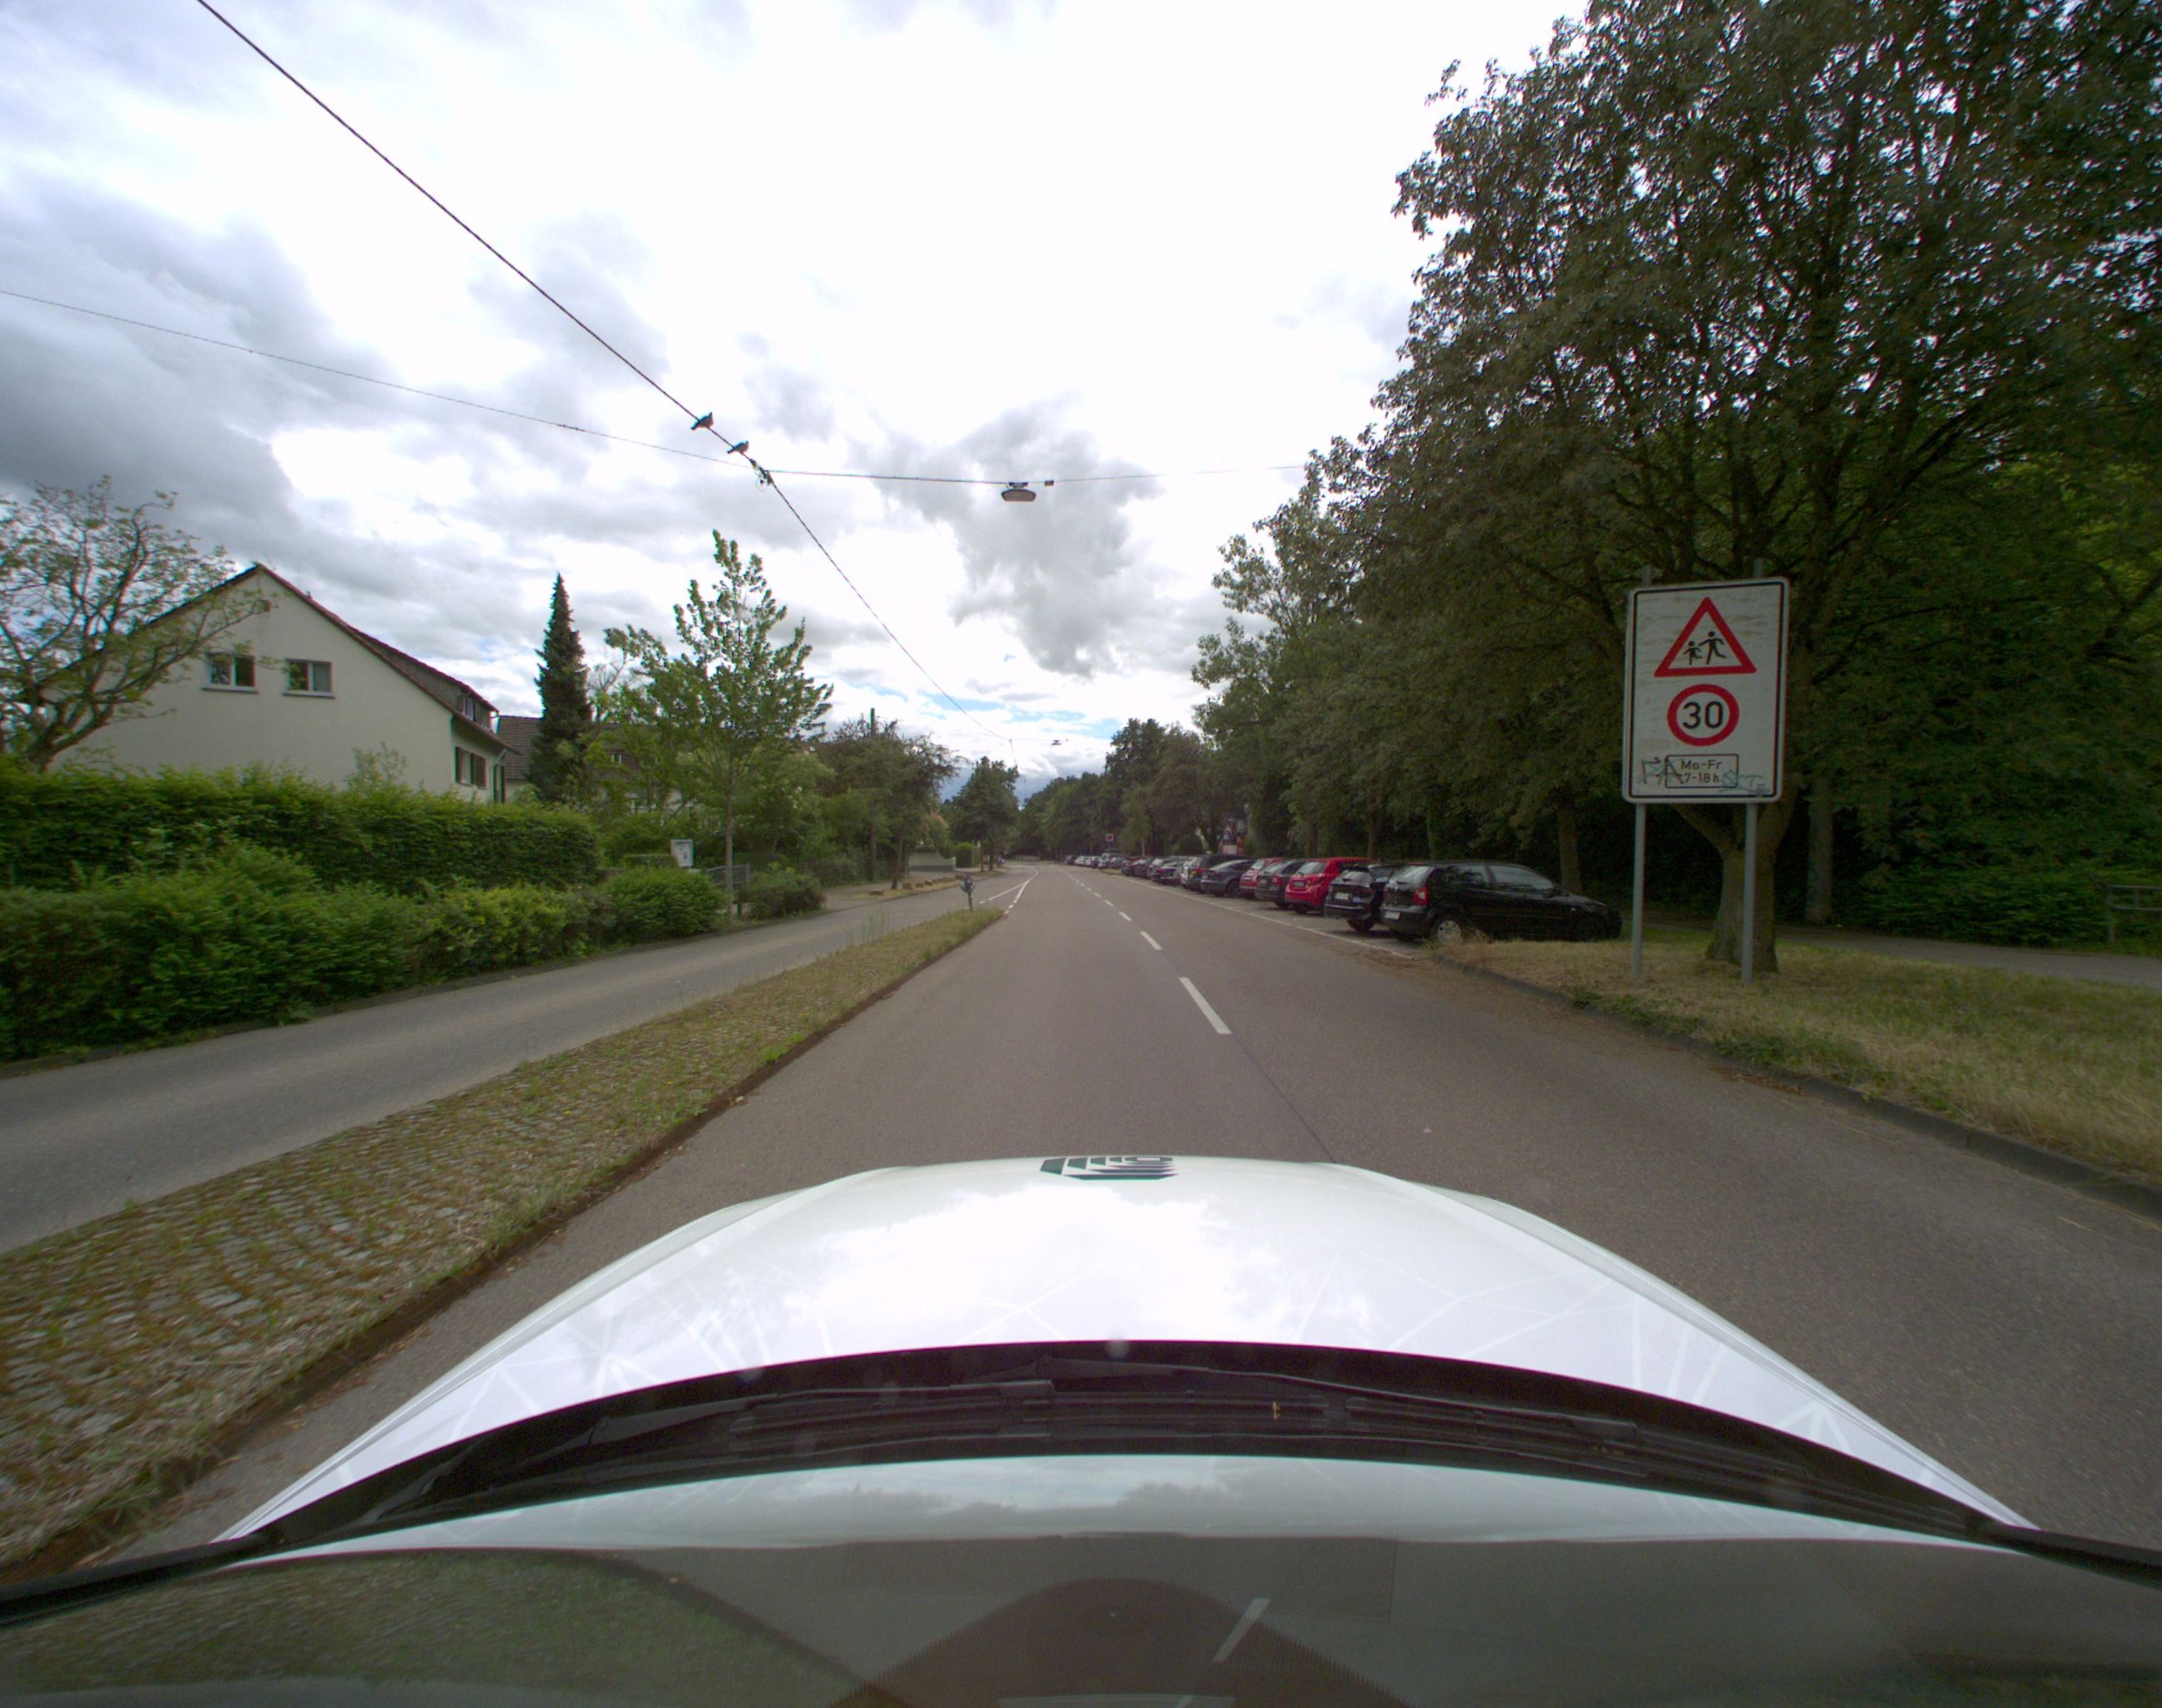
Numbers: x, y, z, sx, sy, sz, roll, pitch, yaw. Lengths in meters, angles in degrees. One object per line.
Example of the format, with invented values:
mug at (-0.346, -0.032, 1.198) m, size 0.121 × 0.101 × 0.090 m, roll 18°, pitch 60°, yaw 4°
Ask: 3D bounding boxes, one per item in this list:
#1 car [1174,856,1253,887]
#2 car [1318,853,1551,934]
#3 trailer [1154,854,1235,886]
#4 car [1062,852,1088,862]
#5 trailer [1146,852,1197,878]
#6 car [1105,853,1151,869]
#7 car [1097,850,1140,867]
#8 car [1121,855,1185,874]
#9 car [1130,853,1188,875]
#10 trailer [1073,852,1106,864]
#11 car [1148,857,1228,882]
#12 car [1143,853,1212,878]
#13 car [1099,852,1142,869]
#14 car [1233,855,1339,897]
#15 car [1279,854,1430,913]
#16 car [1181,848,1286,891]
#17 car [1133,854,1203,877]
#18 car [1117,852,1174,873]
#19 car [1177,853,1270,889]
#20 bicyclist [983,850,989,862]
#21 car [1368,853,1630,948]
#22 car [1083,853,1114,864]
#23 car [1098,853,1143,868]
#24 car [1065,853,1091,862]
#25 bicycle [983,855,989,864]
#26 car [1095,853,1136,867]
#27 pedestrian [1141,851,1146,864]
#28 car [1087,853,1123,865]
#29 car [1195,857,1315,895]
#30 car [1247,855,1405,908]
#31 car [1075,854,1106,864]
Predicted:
car at (6.335, 0.816, 38.969) m, size 3.430 × 1.445 × 1.551 m, roll 1°, pitch 0°, yaw -15°
car at (6.955, 0.737, 16.134) m, size 4.140 × 1.476 × 1.569 m, roll 1°, pitch 0°, yaw -13°
trailer at (5.732, 0.782, 41.188) m, size 3.693 × 1.535 × 1.638 m, roll 1°, pitch 0°, yaw -14°
car at (-0.986, 0.440, 136.018) m, size 3.900 × 1.668 × 1.731 m, roll 1°, pitch 0°, yaw -23°
trailer at (5.735, 0.690, 51.637) m, size 2.992 × 1.542 × 1.296 m, roll 1°, pitch 1°, yaw -16°
car at (4.463, 0.665, 77.221) m, size 3.975 × 1.405 × 1.746 m, roll 1°, pitch 0°, yaw -18°
car at (3.936, 0.491, 85.522) m, size 4.111 × 1.754 × 1.770 m, roll 1°, pitch 0°, yaw -30°
car at (5.208, 0.754, 59.302) m, size 4.322 × 1.341 × 1.724 m, roll 1°, pitch 0°, yaw -17°
car at (5.429, 0.708, 56.744) m, size 3.620 × 1.445 × 1.624 m, roll 1°, pitch 0°, yaw -18°
trailer at (1.204, 0.575, 112.294) m, size 4.171 × 1.573 × 1.699 m, roll 1°, pitch -1°, yaw -22°
car at (5.742, 0.826, 43.792) m, size 4.039 × 1.327 × 1.553 m, roll 1°, pitch -1°, yaw -12°
car at (5.832, 0.713, 49.221) m, size 3.846 × 1.455 × 1.626 m, roll 1°, pitch 0°, yaw -15°
car at (4.014, 0.621, 82.634) m, size 4.009 × 1.620 × 1.873 m, roll 1°, pitch 0°, yaw -19°
car at (7.282, 0.772, 29.044) m, size 3.329 × 1.464 × 1.628 m, roll 1°, pitch 0°, yaw -13°
car at (7.210, 0.755, 21.572) m, size 3.529 × 1.476 × 1.584 m, roll 1°, pitch 0°, yaw -15°
car at (6.288, 0.646, 33.717) m, size 3.988 × 1.725 × 1.674 m, roll 1°, pitch -1°, yaw -12°
car at (5.745, 0.736, 53.716) m, size 4.354 × 1.445 × 1.625 m, roll 1°, pitch 0°, yaw -17°
car at (4.912, 0.632, 62.132) m, size 4.091 × 1.515 × 1.719 m, roll 0°, pitch 0°, yaw -25°
car at (6.364, 0.756, 36.517) m, size 3.816 × 1.529 × 1.602 m, roll 1°, pitch 0°, yaw -7°
bicyclist at (-14.038, 0.260, 120.587) m, size 0.843 × 1.697 × 0.713 m, roll 0°, pitch 1°, yaw -4°
car at (7.017, 0.760, 13.850) m, size 3.710 × 1.476 × 1.574 m, roll 1°, pitch 1°, yaw -5°
car at (2.399, 0.633, 110.186) m, size 3.902 × 1.449 × 1.730 m, roll 1°, pitch 0°, yaw -24°
car at (3.887, 0.649, 79.713) m, size 4.042 × 1.405 × 1.744 m, roll 1°, pitch 0°, yaw -21°
car at (-0.561, 0.587, 133.253) m, size 3.900 × 1.429 × 1.731 m, roll 1°, pitch 0°, yaw -23°
bicycle at (-14.045, 0.792, 120.550) m, size 0.843 × 1.266 × 2.647 m, roll 0°, pitch 1°, yaw -5°
car at (3.756, 0.659, 88.817) m, size 3.977 × 1.449 × 1.906 m, roll 1°, pitch 0°, yaw -18°
pedestrian at (8.028, 0.437, 104.320) m, size 0.647 × 1.671 × 0.744 m, roll -1°, pitch 0°, yaw 3°
car at (2.907, 0.636, 99.068) m, size 3.905 × 1.449 × 1.828 m, roll 1°, pitch 0°, yaw -27°
car at (6.626, 0.828, 31.092) m, size 4.165 × 1.407 × 1.690 m, roll 1°, pitch 0°, yaw -14°
car at (7.189, 0.798, 24.052) m, size 4.221 × 1.464 × 1.628 m, roll 1°, pitch 0°, yaw -12°
car at (1.343, 0.687, 114.991) m, size 3.906 × 1.309 × 1.728 m, roll 1°, pitch 0°, yaw -27°
